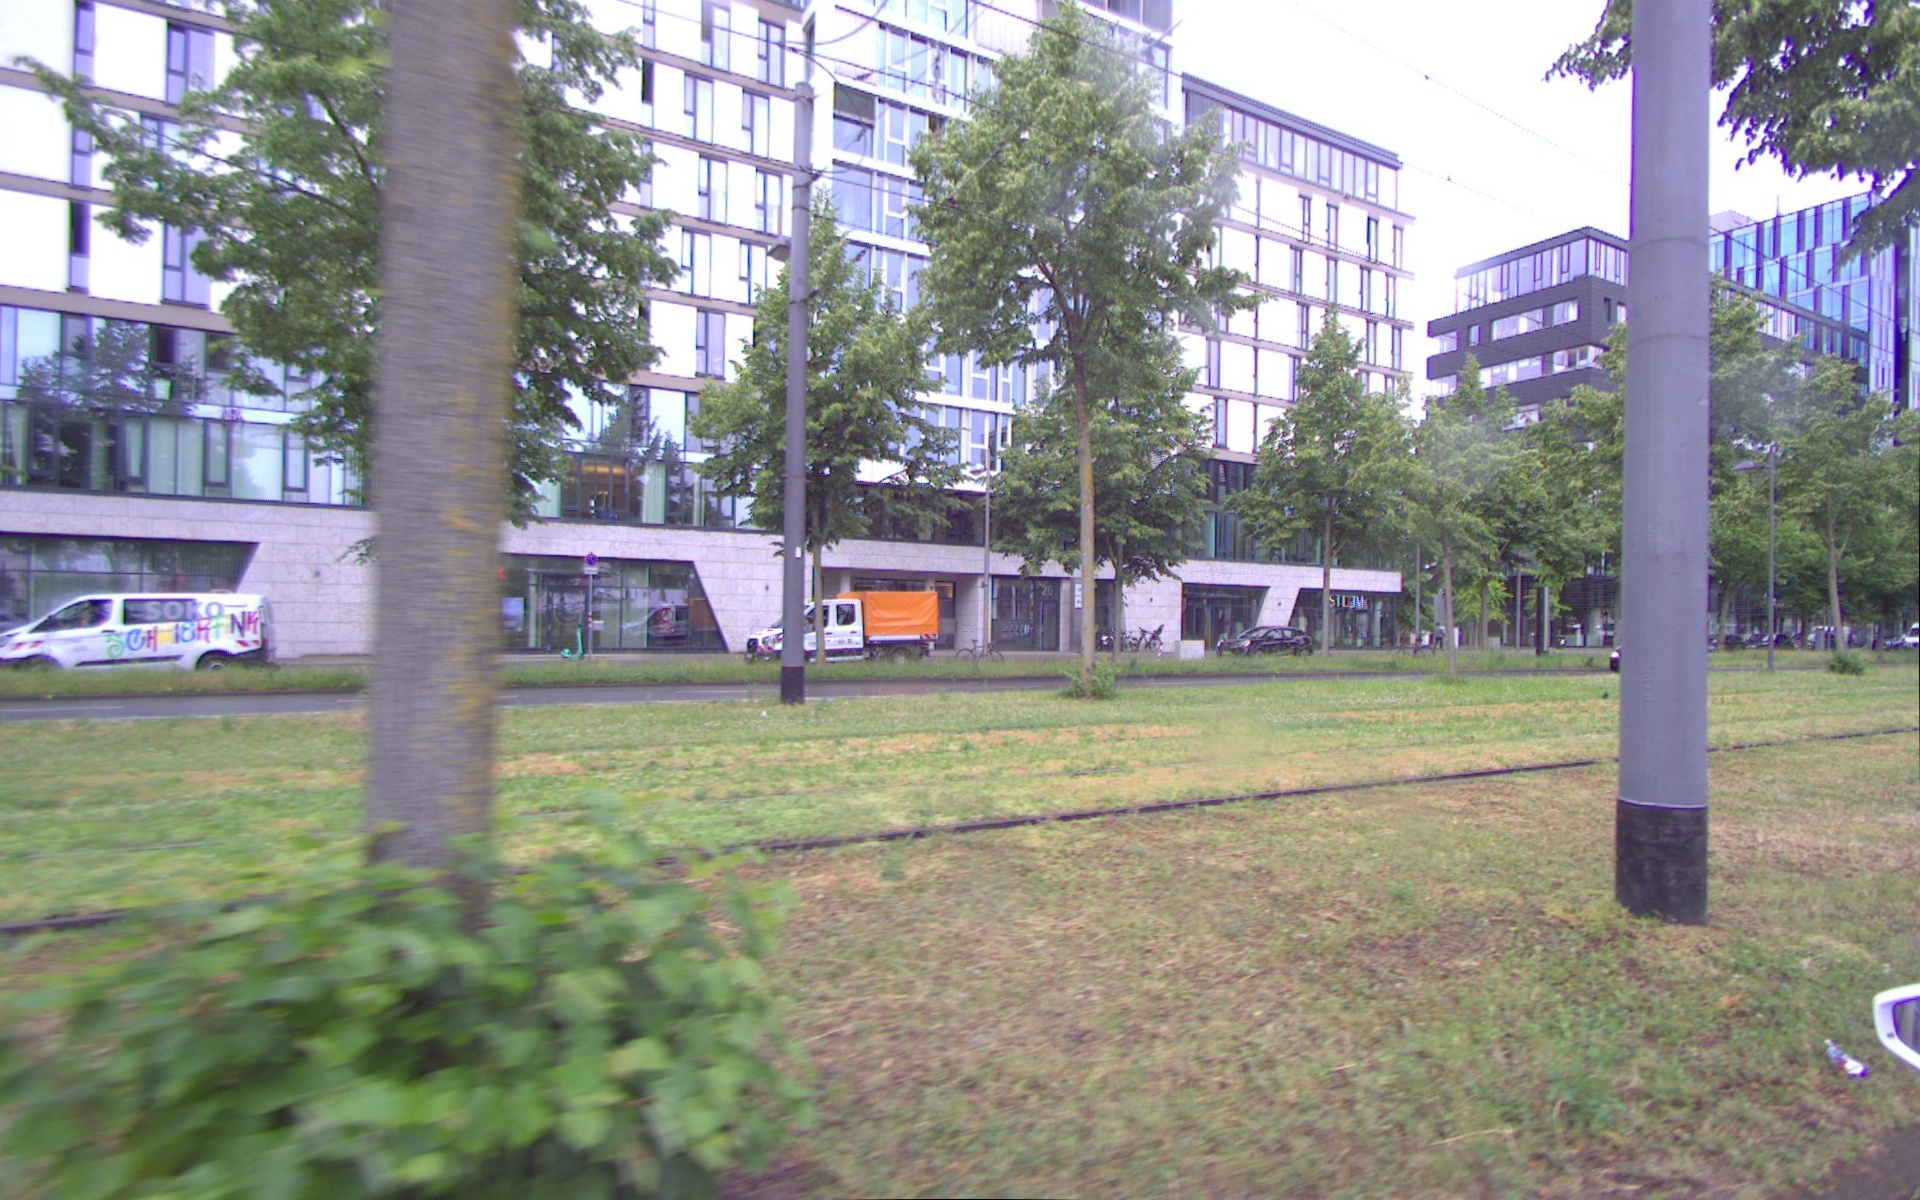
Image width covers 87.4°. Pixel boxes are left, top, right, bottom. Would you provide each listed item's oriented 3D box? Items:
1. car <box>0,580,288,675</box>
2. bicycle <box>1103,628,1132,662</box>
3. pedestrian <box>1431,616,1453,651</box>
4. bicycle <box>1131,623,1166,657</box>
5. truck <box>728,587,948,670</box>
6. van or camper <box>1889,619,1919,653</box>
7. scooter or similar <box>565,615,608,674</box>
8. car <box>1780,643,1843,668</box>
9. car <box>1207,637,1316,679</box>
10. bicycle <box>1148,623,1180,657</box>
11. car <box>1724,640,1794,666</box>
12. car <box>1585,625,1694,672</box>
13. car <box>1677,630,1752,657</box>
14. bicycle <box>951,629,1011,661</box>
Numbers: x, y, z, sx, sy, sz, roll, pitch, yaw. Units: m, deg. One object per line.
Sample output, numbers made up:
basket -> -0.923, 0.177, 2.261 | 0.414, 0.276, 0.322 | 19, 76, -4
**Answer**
car -> -17.740, 0.594, 21.789 | 5.105, 1.876, 1.984 | 1, -1, -31
bicycle -> 7.387, 2.100, 47.107 | 0.540, 1.502, 1.425 | 1, 0, -30
pedestrian -> 28.566, 1.978, 59.528 | 0.845, 2.007, 0.791 | 1, -1, -27
bicycle -> 8.983, 1.910, 47.929 | 0.673, 1.559, 1.695 | 1, 0, -30
truck -> -3.665, 0.854, 30.629 | 6.235, 2.322, 2.415 | 1, -1, -30
van or camper -> 70.475, 2.626, 73.261 | 5.780, 2.346, 2.422 | 1, -1, -30
scooter or similar -> -12.305, 1.434, 33.071 | 0.875, 1.849, 2.112 | 1, 0, -33
car -> 52.996, 3.421, 62.490 | 4.191, 1.468, 1.694 | 1, -1, -30
car -> 11.583, 2.190, 38.573 | 3.942, 1.484, 1.846 | 1, -1, -31
bicycle -> 9.889, 1.932, 48.766 | 0.600, 1.559, 1.560 | 1, 0, -30
car -> 47.523, 3.126, 59.726 | 3.953, 1.397, 1.984 | 1, -1, -30
car -> 25.514, 1.791, 37.690 | 3.655, 1.678, 1.985 | 1, -1, -30
car -> 42.179, 2.404, 56.118 | 3.953, 1.397, 1.984 | 1, -1, -30
bicycle -> 0.642, 1.359, 30.446 | 1.734, 0.958, 0.597 | 1, -1, -27
